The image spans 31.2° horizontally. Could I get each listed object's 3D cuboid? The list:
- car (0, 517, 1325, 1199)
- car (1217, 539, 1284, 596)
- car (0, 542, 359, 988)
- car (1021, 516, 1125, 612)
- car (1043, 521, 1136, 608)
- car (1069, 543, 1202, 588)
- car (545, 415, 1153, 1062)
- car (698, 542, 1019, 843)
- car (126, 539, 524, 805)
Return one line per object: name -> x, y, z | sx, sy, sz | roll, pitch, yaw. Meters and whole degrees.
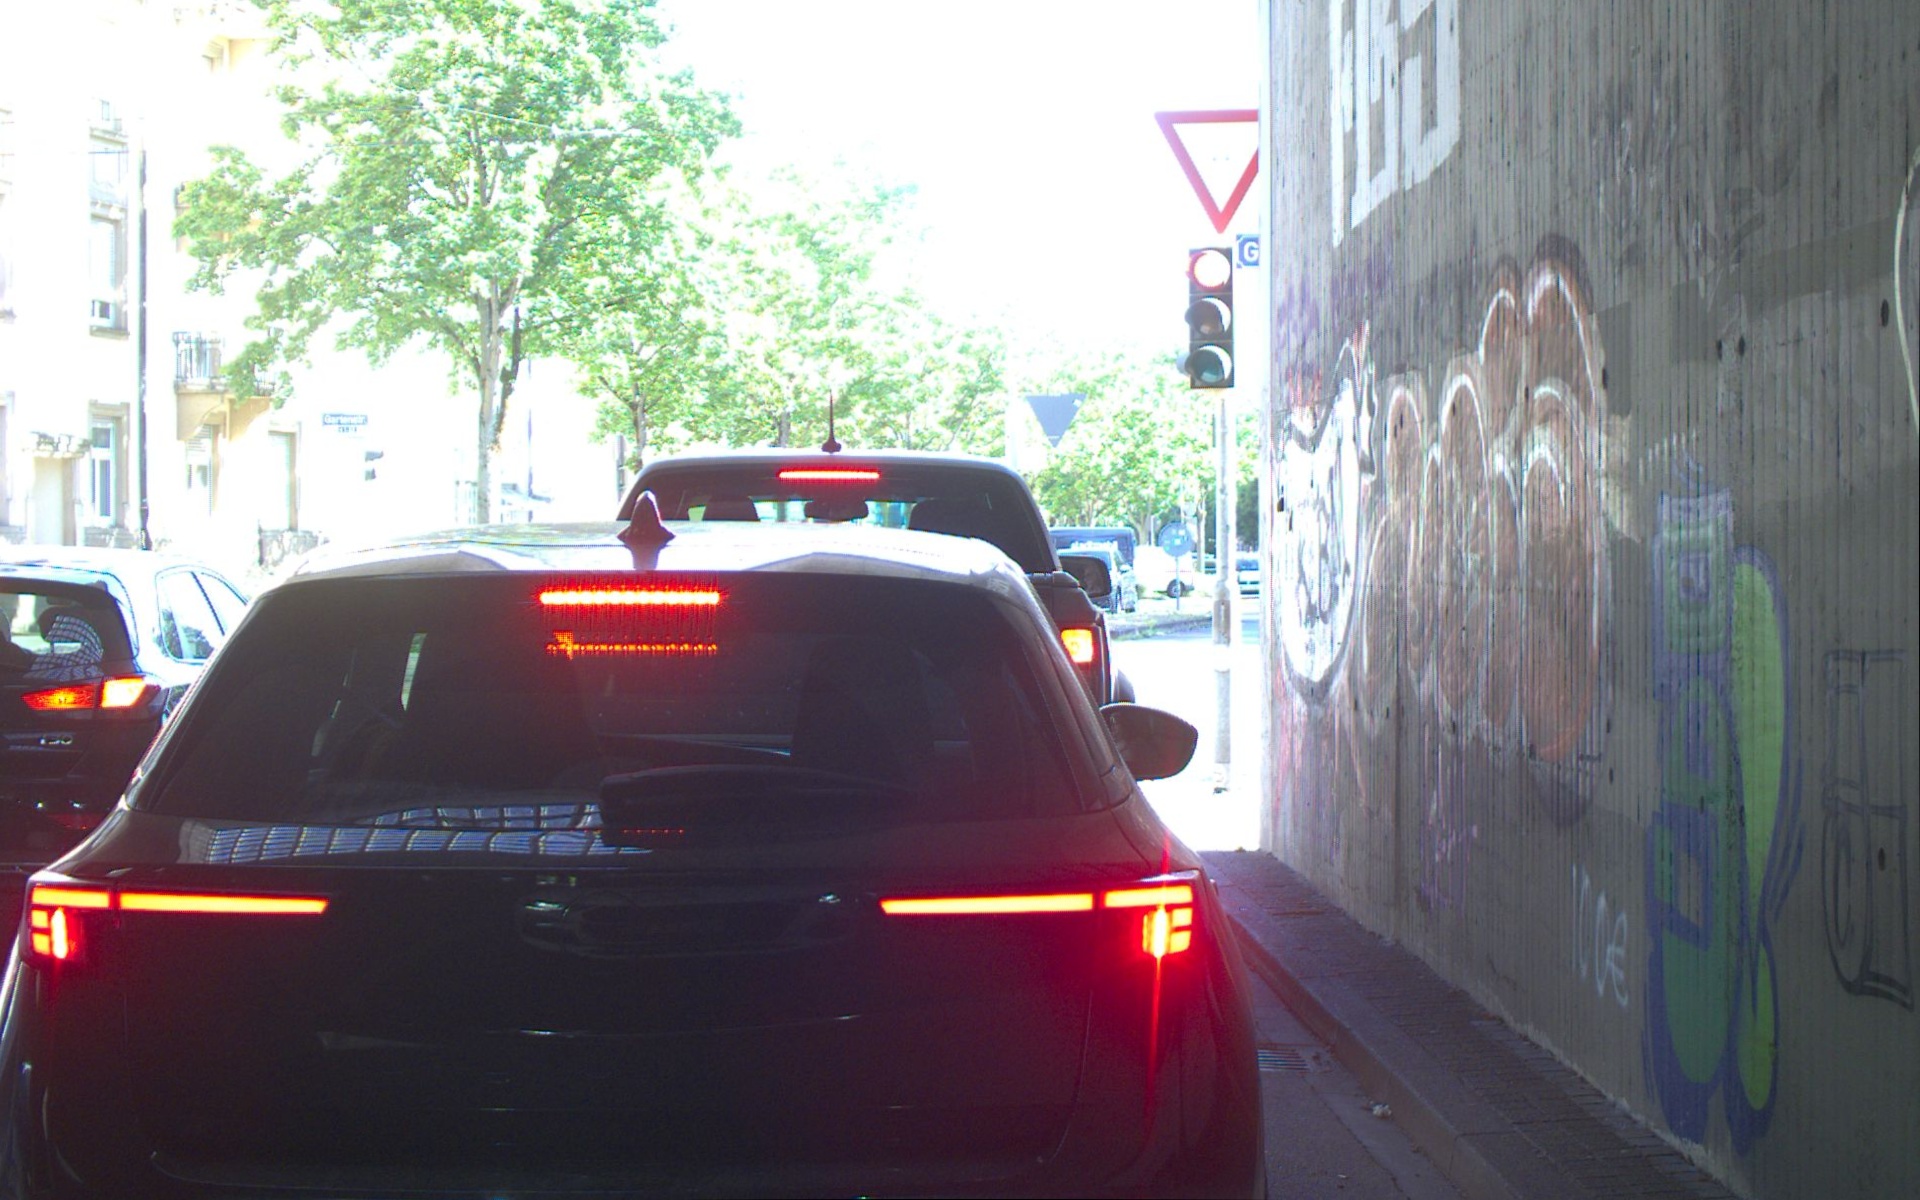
car -> -0.474, 0.632, 6.112 | 1.762, 1.526, 4.089 | 0, 1, -1
car -> 8.872, -0.990, 104.948 | 1.754, 1.661, 3.943 | 1, 1, 9
car -> -3.523, 0.515, 13.300 | 1.762, 1.475, 3.844 | 0, 1, -1
car -> 2.079, -0.656, 62.208 | 1.754, 1.661, 3.944 | 1, 1, 3
car -> 2.599, -0.710, 68.327 | 1.754, 1.661, 3.944 | 1, 1, 3
car -> 6.825, -1.351, 133.787 | 4.798, 1.661, 1.824 | 1, 1, -21
car -> -0.346, 0.370, 12.052 | 1.762, 1.876, 4.146 | 0, 1, -1
car -> -0.531, 0.433, 19.272 | 1.609, 1.508, 4.054 | 0, 1, -1
car -> -3.773, 0.369, 21.024 | 1.762, 1.475, 3.844 | 0, 1, -1
